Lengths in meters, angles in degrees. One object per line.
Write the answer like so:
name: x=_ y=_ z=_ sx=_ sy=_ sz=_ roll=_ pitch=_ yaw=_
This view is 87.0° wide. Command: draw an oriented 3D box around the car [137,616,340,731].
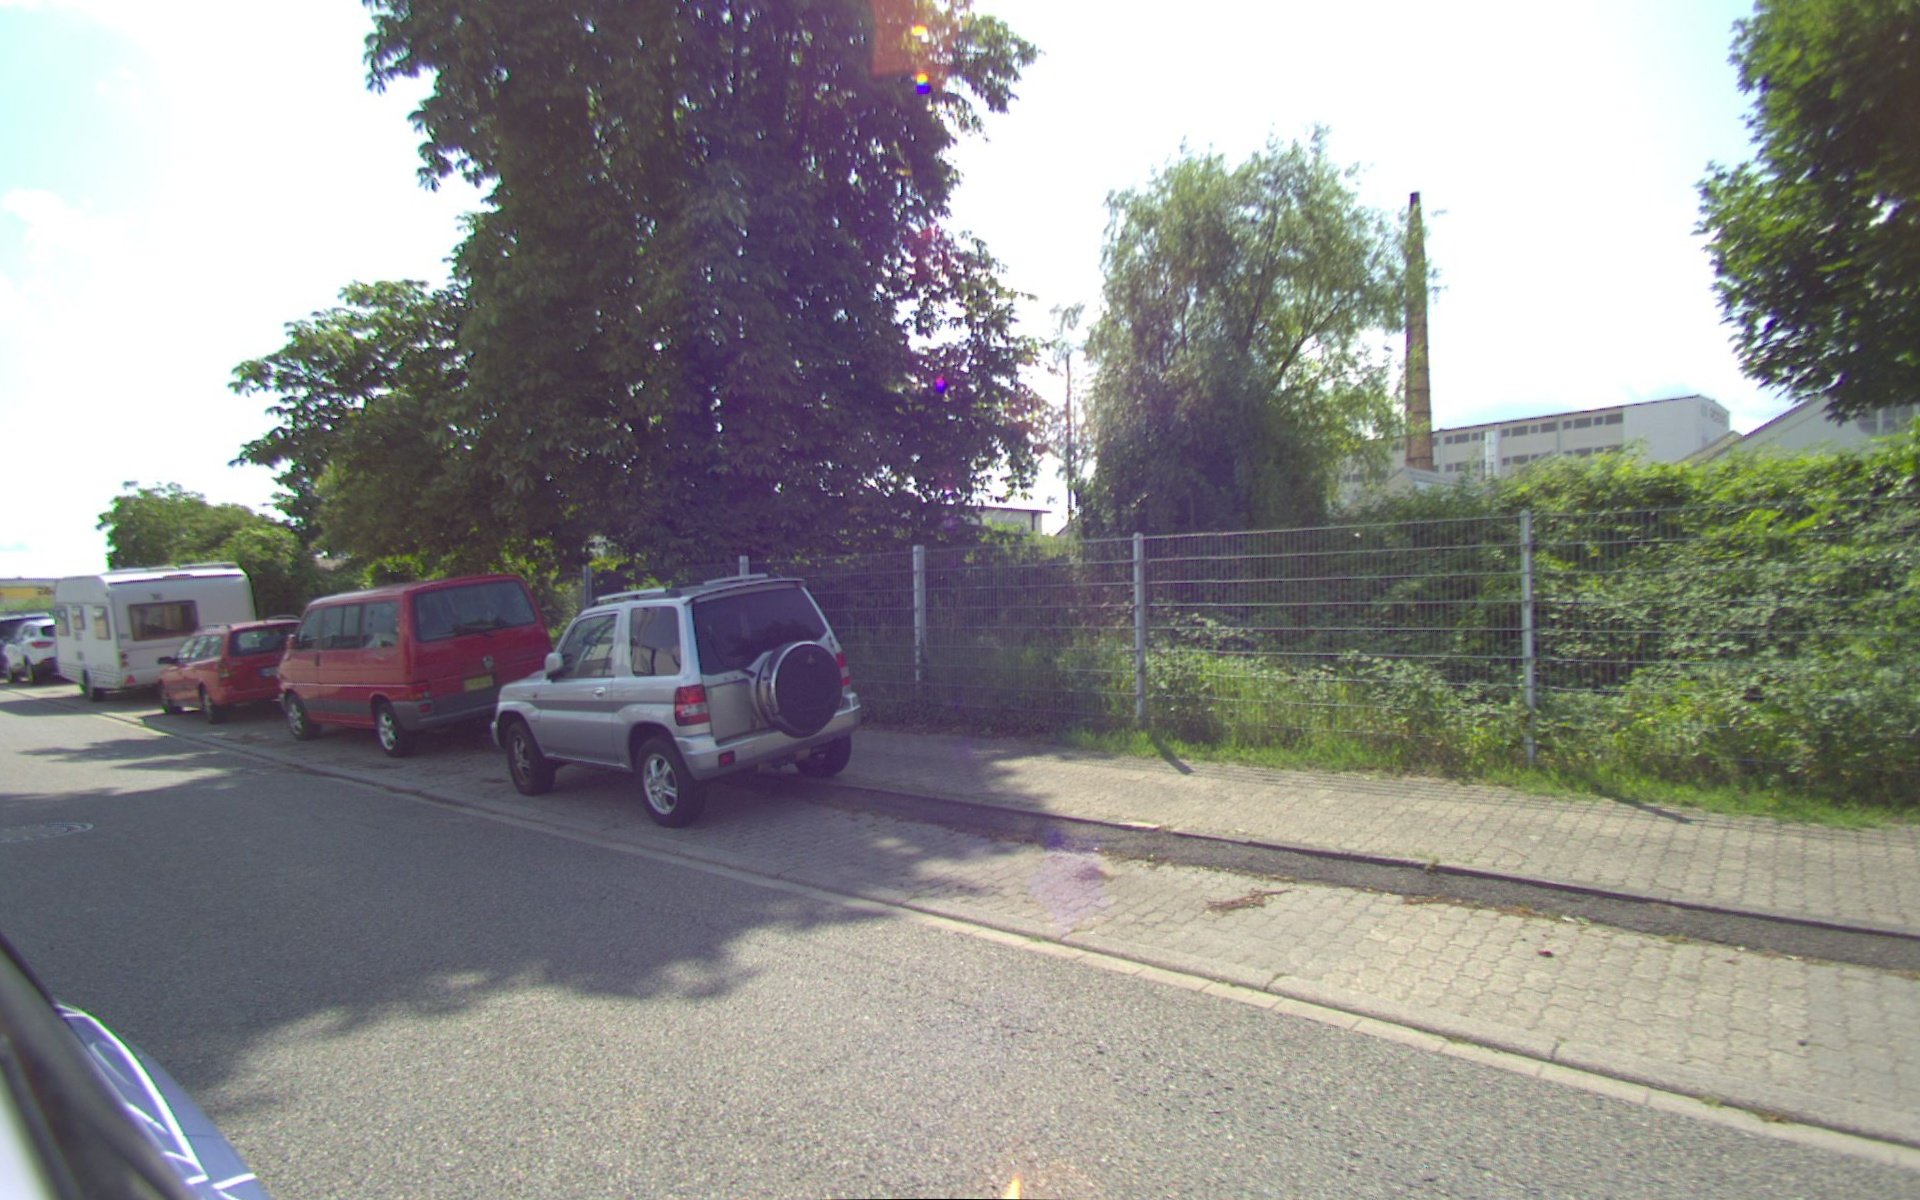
car: x=-12.010 y=1.128 z=16.755 sx=4.265 sy=1.543 sz=1.609 roll=-2 pitch=3 yaw=40

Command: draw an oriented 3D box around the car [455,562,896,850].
car: x=-2.536 y=0.722 z=8.540 sx=3.825 sy=1.815 sz=1.682 roll=-2 pitch=3 yaw=42

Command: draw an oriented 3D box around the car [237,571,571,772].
car: x=-7.235 y=0.779 z=12.930 sx=4.953 sy=1.968 sz=1.880 roll=-1 pitch=5 yaw=40

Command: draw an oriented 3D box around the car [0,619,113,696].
car: x=-24.035 y=1.468 z=26.551 sx=4.436 sy=1.704 sz=1.669 roll=-2 pitch=4 yaw=37

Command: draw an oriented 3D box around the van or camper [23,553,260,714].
van or camper: x=-17.387 y=0.643 z=21.328 sx=6.824 sy=2.824 sz=2.242 roll=-2 pitch=3 yaw=38

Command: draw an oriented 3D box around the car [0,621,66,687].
car: x=-28.747 y=1.600 z=30.609 sx=4.730 sy=1.807 sz=1.809 roll=-2 pitch=-1 yaw=39

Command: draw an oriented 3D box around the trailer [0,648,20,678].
trailer: x=-35.903 y=2.339 z=36.408 sx=7.128 sy=0.889 sz=2.249 roll=-1 pitch=4 yaw=41
